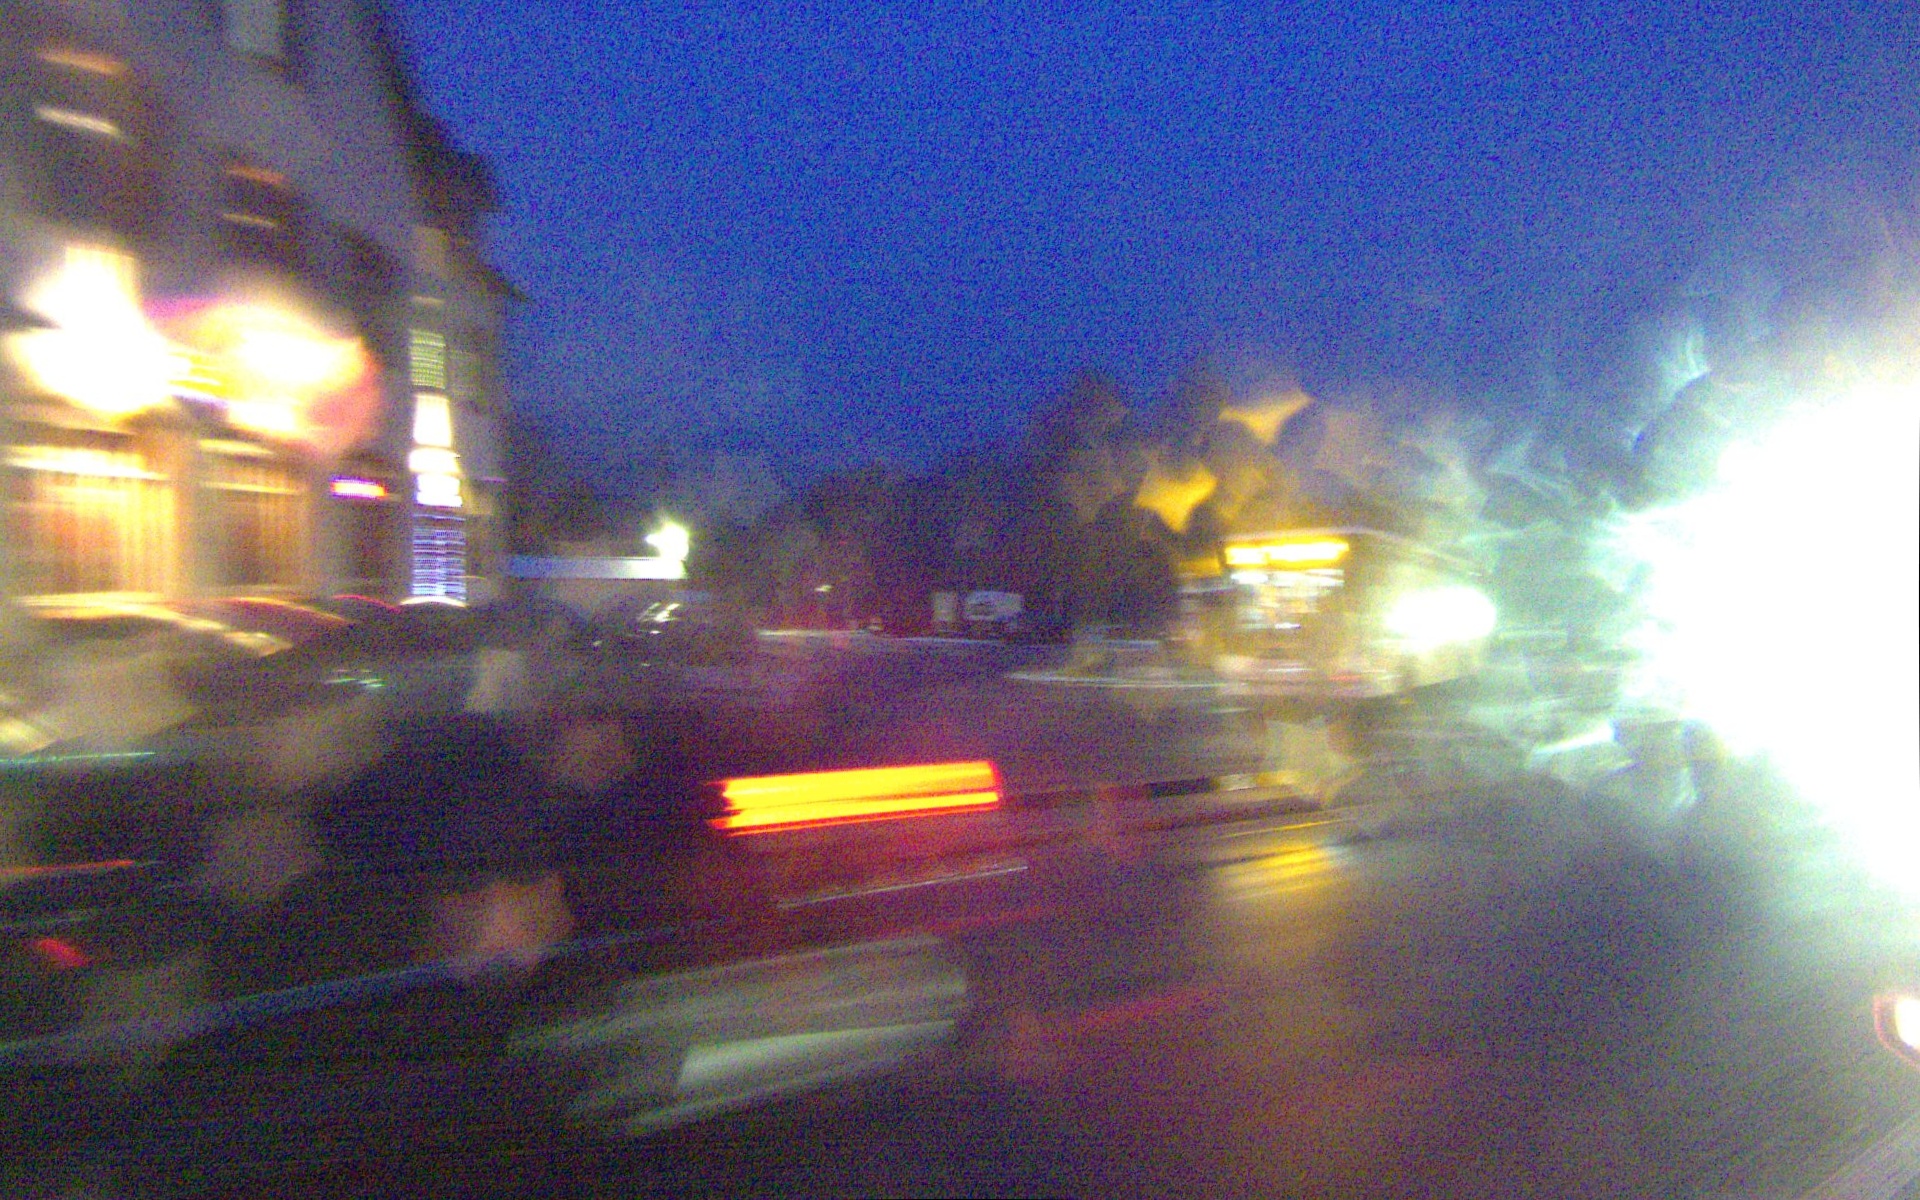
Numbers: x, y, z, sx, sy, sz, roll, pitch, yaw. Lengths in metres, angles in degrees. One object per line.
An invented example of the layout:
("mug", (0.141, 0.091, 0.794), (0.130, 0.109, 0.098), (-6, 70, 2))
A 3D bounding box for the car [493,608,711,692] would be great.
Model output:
("car", (-6.867, 0.984, 19.615), (3.664, 1.416, 1.692), (3, -3, -9))

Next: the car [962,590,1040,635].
("car", (2.119, 0.633, 50.572), (1.968, 2.083, 3.986), (3, 0, 36))

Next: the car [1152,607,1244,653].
("car", (10.087, 1.269, 42.297), (1.913, 1.719, 4.608), (3, 0, 39))

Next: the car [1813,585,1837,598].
("car", (110.737, -1.063, 128.626), (1.612, 1.530, 4.087), (-1, 0, 30))

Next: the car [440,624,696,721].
("car", (-6.471, 1.221, 16.970), (3.664, 1.416, 1.692), (3, -3, -9))

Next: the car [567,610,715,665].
("car", (-9.609, 1.156, 30.537), (3.967, 1.416, 1.859), (3, -3, -9))

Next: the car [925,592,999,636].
("car", (0.128, 0.751, 52.001), (1.736, 2.083, 3.986), (3, 0, 36))

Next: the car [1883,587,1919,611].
("car", (89.045, -0.078, 94.382), (1.962, 2.040, 4.842), (3, 1, 24))

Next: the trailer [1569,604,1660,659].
("trailer", (22.149, 1.028, 33.925), (1.794, 1.699, 4.075), (-2, -1, 44))

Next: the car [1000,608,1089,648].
("car", (4.103, 1.354, 48.178), (1.913, 1.719, 4.608), (3, 0, 39))

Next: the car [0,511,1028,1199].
("car", (-1.831, 0.647, 2.896), (3.756, 1.621, 1.687), (1, 0, -30))

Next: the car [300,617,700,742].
("car", (-6.056, 1.071, 13.833), (4.655, 1.394, 1.845), (3, 0, -13))

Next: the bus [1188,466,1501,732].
("bus", (8.694, 0.053, 20.924), (2.855, 3.920, 13.015), (1, 0, 35))
